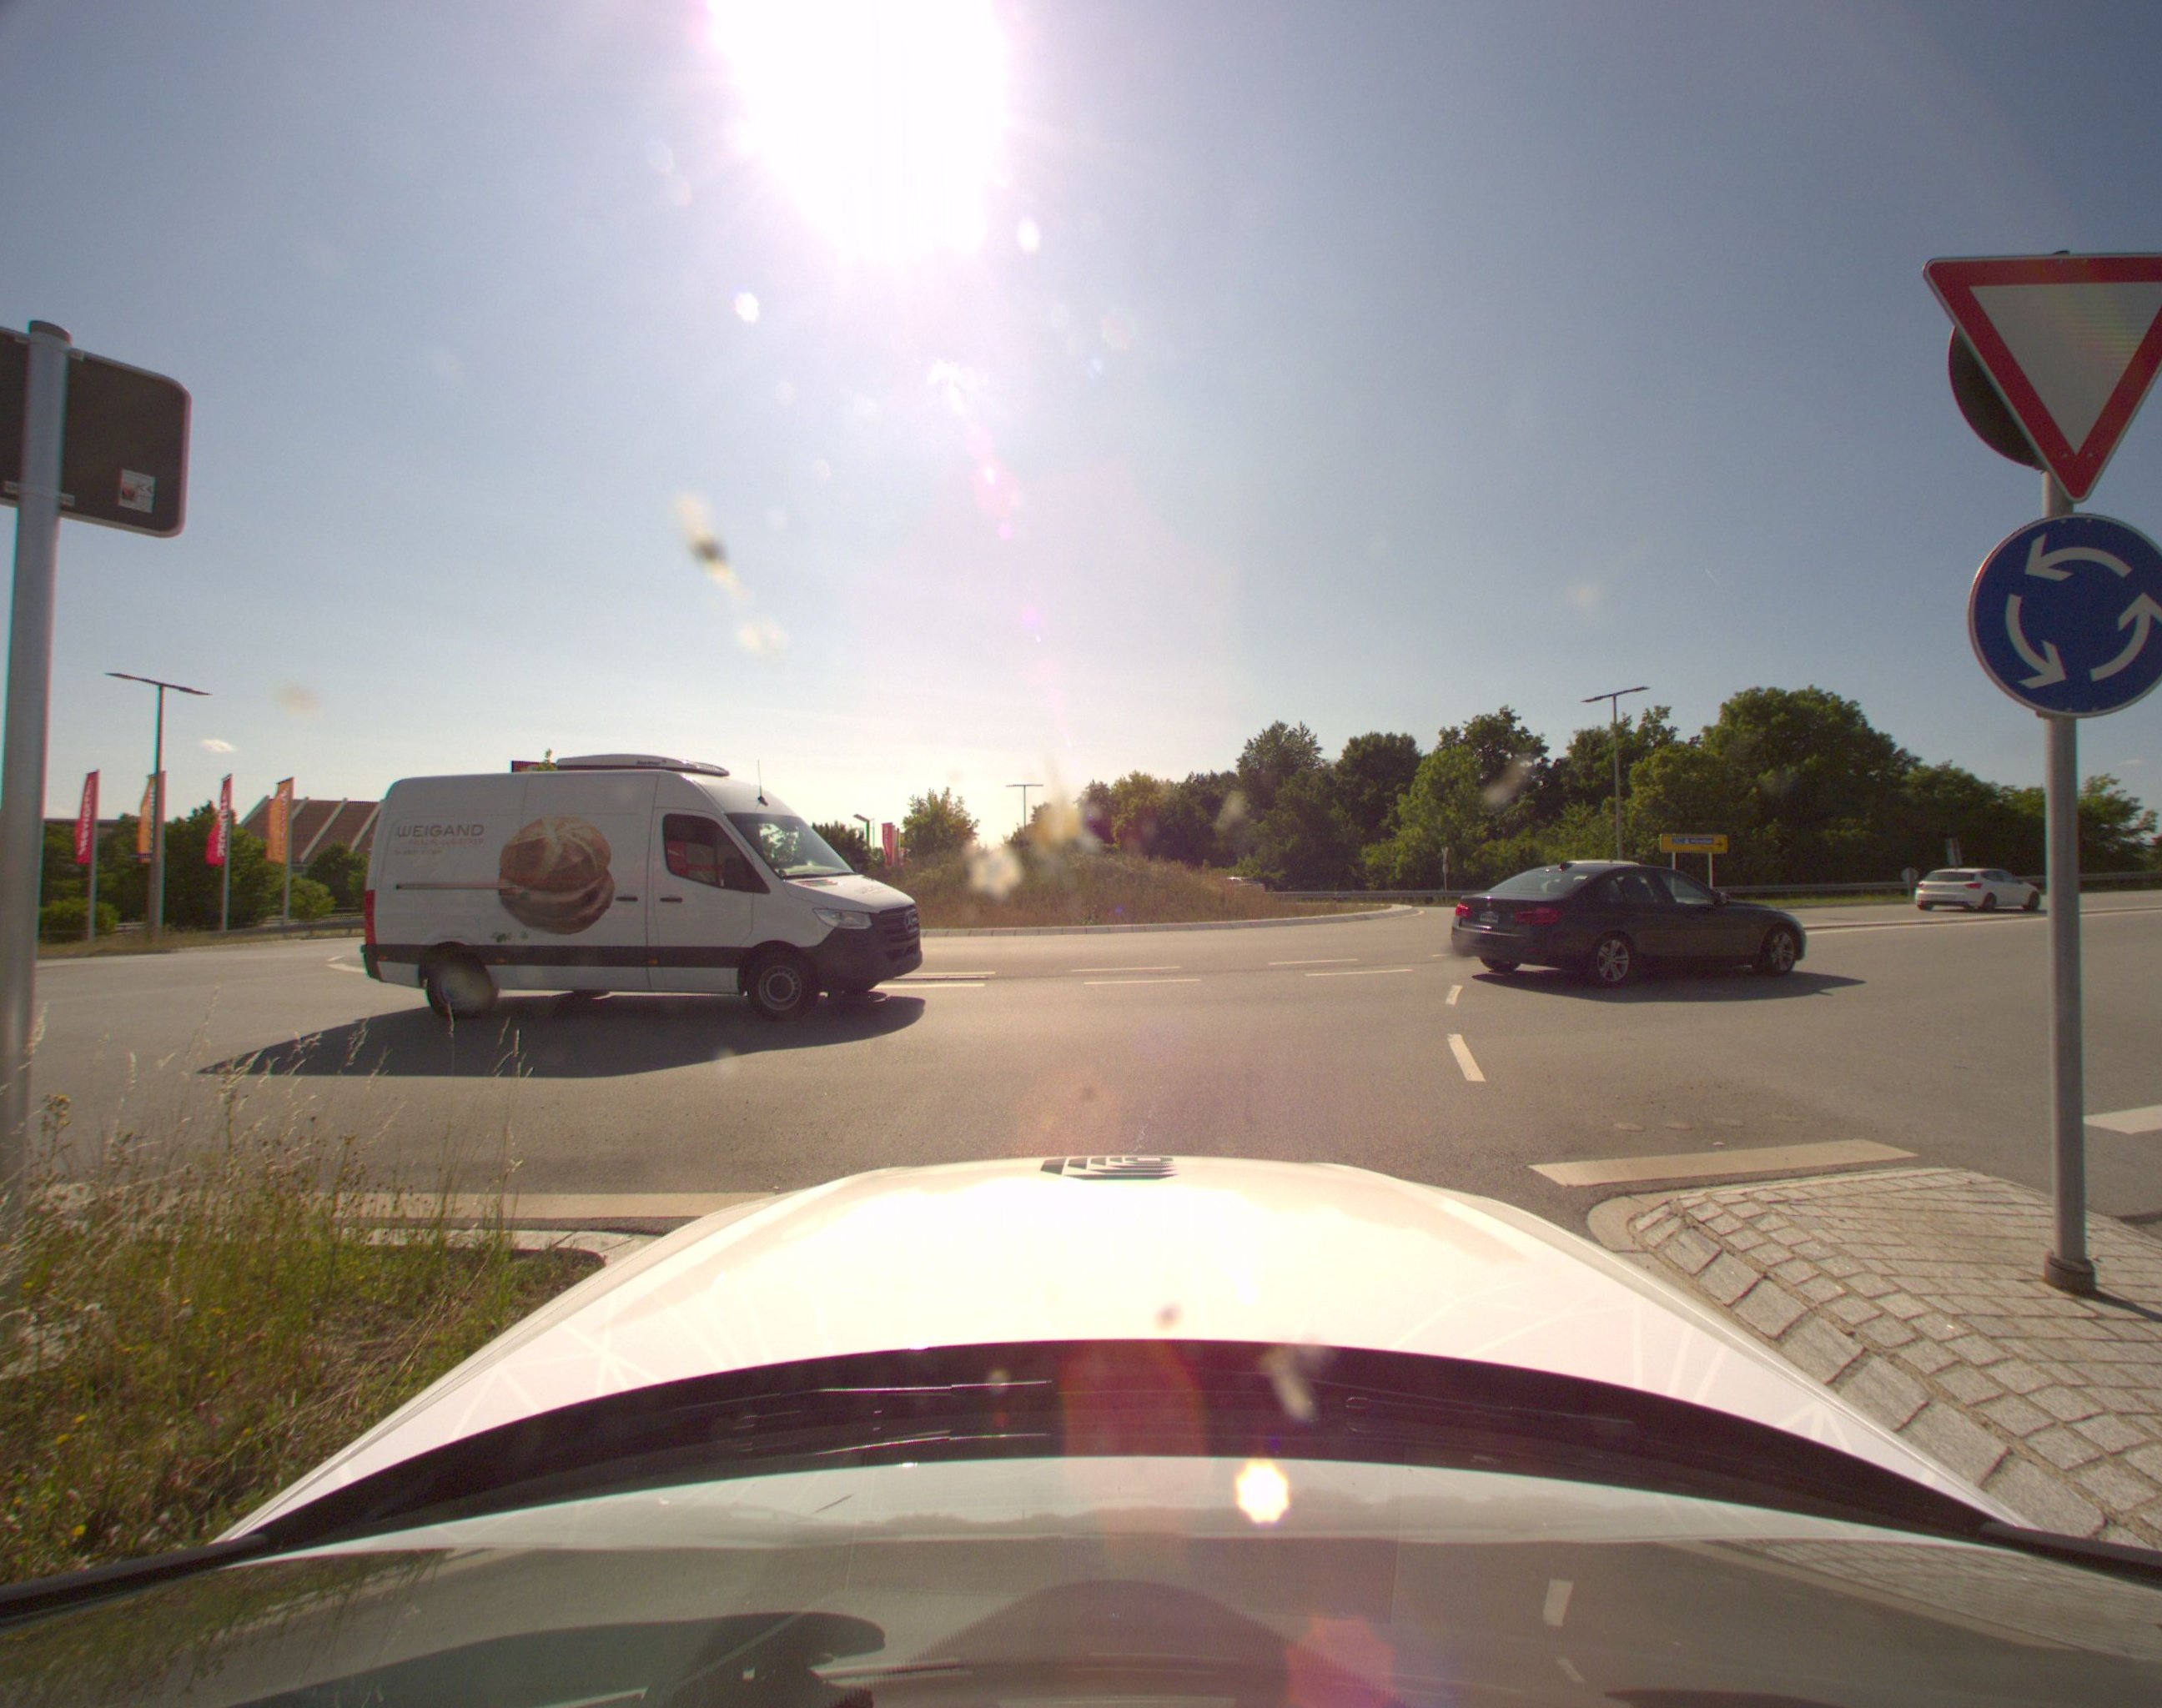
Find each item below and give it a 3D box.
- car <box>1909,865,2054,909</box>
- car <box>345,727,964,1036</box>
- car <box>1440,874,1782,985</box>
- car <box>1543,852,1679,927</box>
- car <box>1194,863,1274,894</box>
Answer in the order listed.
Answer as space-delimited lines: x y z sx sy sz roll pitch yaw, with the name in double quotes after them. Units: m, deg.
30.344 1.083 27.459 4.417 1.405 1.779 0 -1 -21 "car"
-4.584 0.290 9.196 6.082 2.921 2.090 0 -1 9 "car"
6.718 0.861 10.362 3.865 1.182 1.665 0 -1 -20 "car"
12.626 0.796 19.708 1.825 1.596 4.346 -1 -1 20 "car"
8.242 1.338 44.220 1.798 1.530 4.243 0 -4 -33 "car"
